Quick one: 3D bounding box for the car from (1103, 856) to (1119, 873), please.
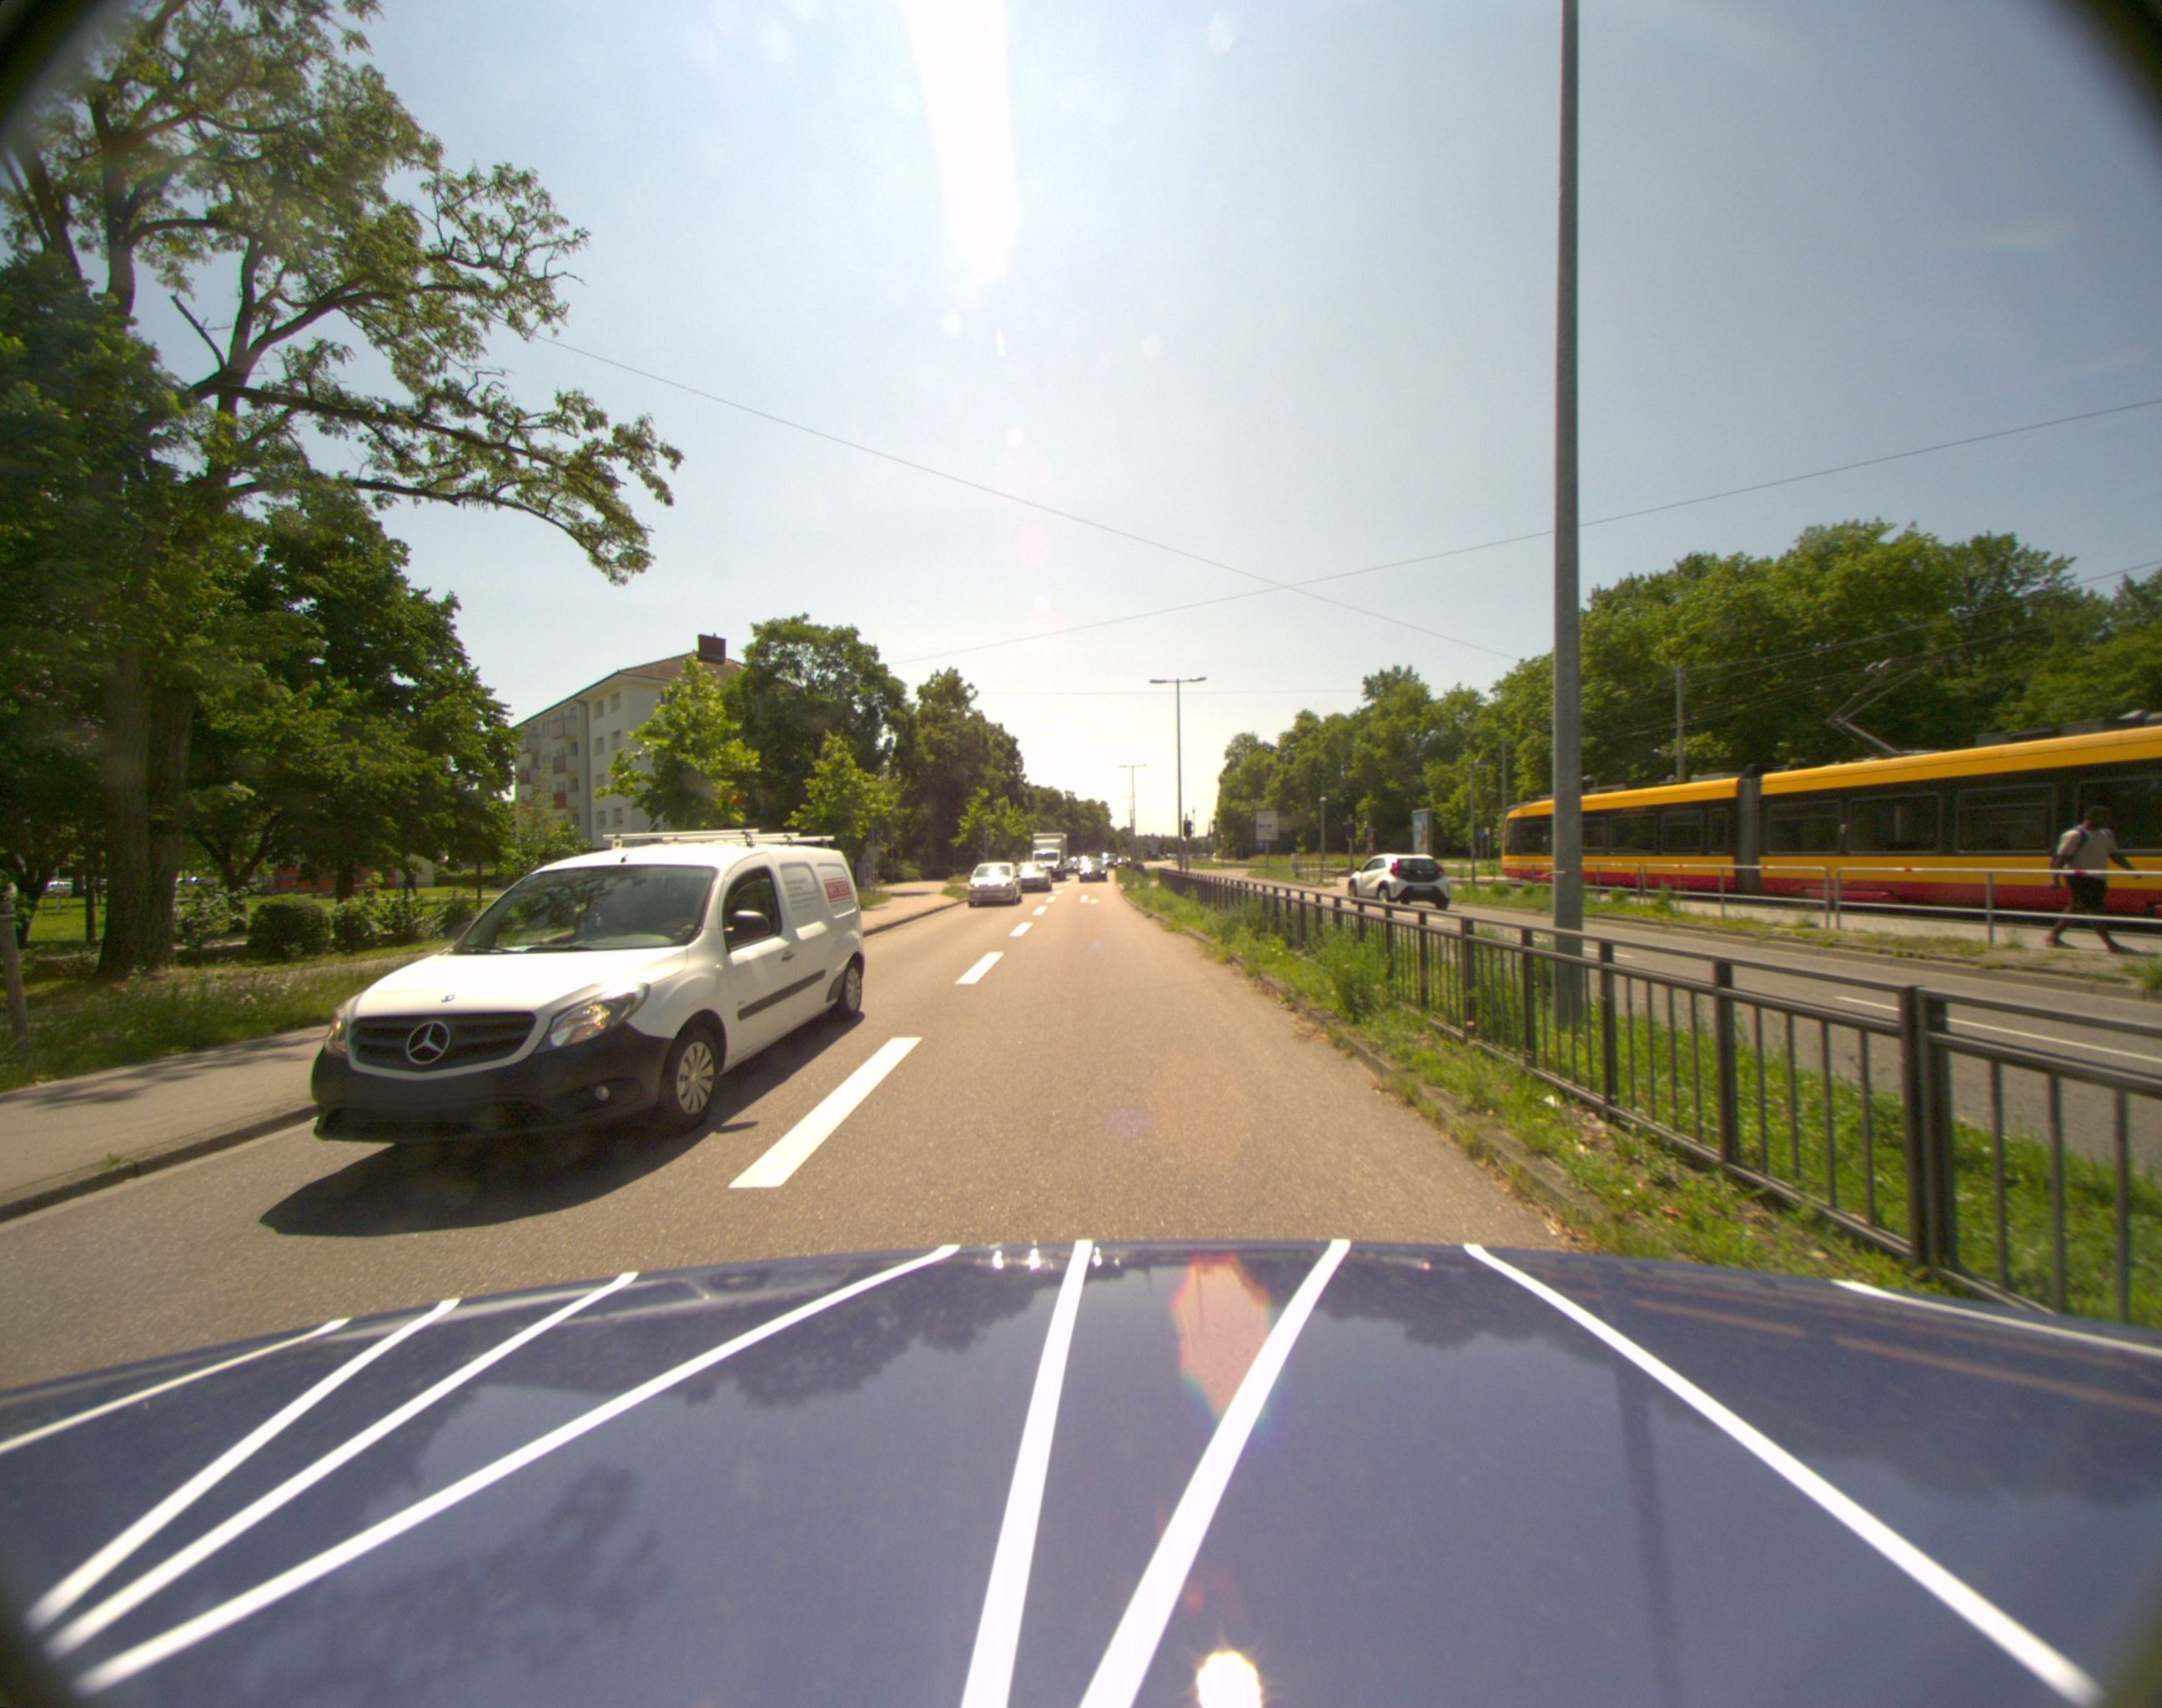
[{"bbox_3d":[3.455,1.174,88.011,1.746,1.840,3.888,-1,0,2],"label":"car"}]

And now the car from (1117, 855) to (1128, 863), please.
[{"bbox_3d":[7.548,0.878,138.346,1.745,1.382,3.889,-1,0,8],"label":"car"}]

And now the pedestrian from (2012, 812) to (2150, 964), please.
[{"bbox_3d":[12.365,0.401,9.419,0.633,1.780,0.776,-3,0,0],"label":"pedestrian"}]

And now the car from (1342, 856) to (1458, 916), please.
[{"bbox_3d":[8.965,0.837,21.683,1.773,1.496,3.720,-1,0,1],"label":"car"}]

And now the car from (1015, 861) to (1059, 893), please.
[{"bbox_3d":[-2.084,1.076,36.683,1.618,1.373,4.115,-3,0,3],"label":"car"}]

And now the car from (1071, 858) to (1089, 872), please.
[{"bbox_3d":[-0.078,1.187,82.381,1.618,1.373,4.115,-3,0,3],"label":"car"}]

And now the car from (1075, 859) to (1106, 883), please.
[{"bbox_3d":[0.626,1.028,47.487,1.746,1.382,3.888,-1,0,2],"label":"car"}]

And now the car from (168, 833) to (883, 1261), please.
[{"bbox_3d":[-3.153,0.874,5.959,1.809,1.845,5.082,-3,0,0],"label":"car"}]

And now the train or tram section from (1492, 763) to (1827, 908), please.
[{"bbox_3d":[18.934,-0.489,26.532,2.957,3.833,11.541,-3,0,1],"label":"train or tram section"}]

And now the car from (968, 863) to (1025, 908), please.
[{"bbox_3d":[-2.973,1.083,27.339,1.626,1.432,3.498,-3,0,0],"label":"car"}]

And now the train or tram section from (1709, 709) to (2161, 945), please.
[{"bbox_3d":[18.644,-0.489,14.468,3.051,3.719,12.596,-3,0,1],"label":"train or tram section"}]

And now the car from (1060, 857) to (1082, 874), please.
[{"bbox_3d":[-0.901,1.050,69.755,1.746,1.382,3.888,-1,0,2],"label":"car"}]

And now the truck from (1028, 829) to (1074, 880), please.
[{"bbox_3d":[-2.019,0.025,53.704,2.489,3.276,6.606,-1,0,4],"label":"truck"}]

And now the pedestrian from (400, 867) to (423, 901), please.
[{"bbox_3d":[-39.229,1.757,44.515,0.887,1.907,0.757,-2,1,36],"label":"pedestrian"}]
